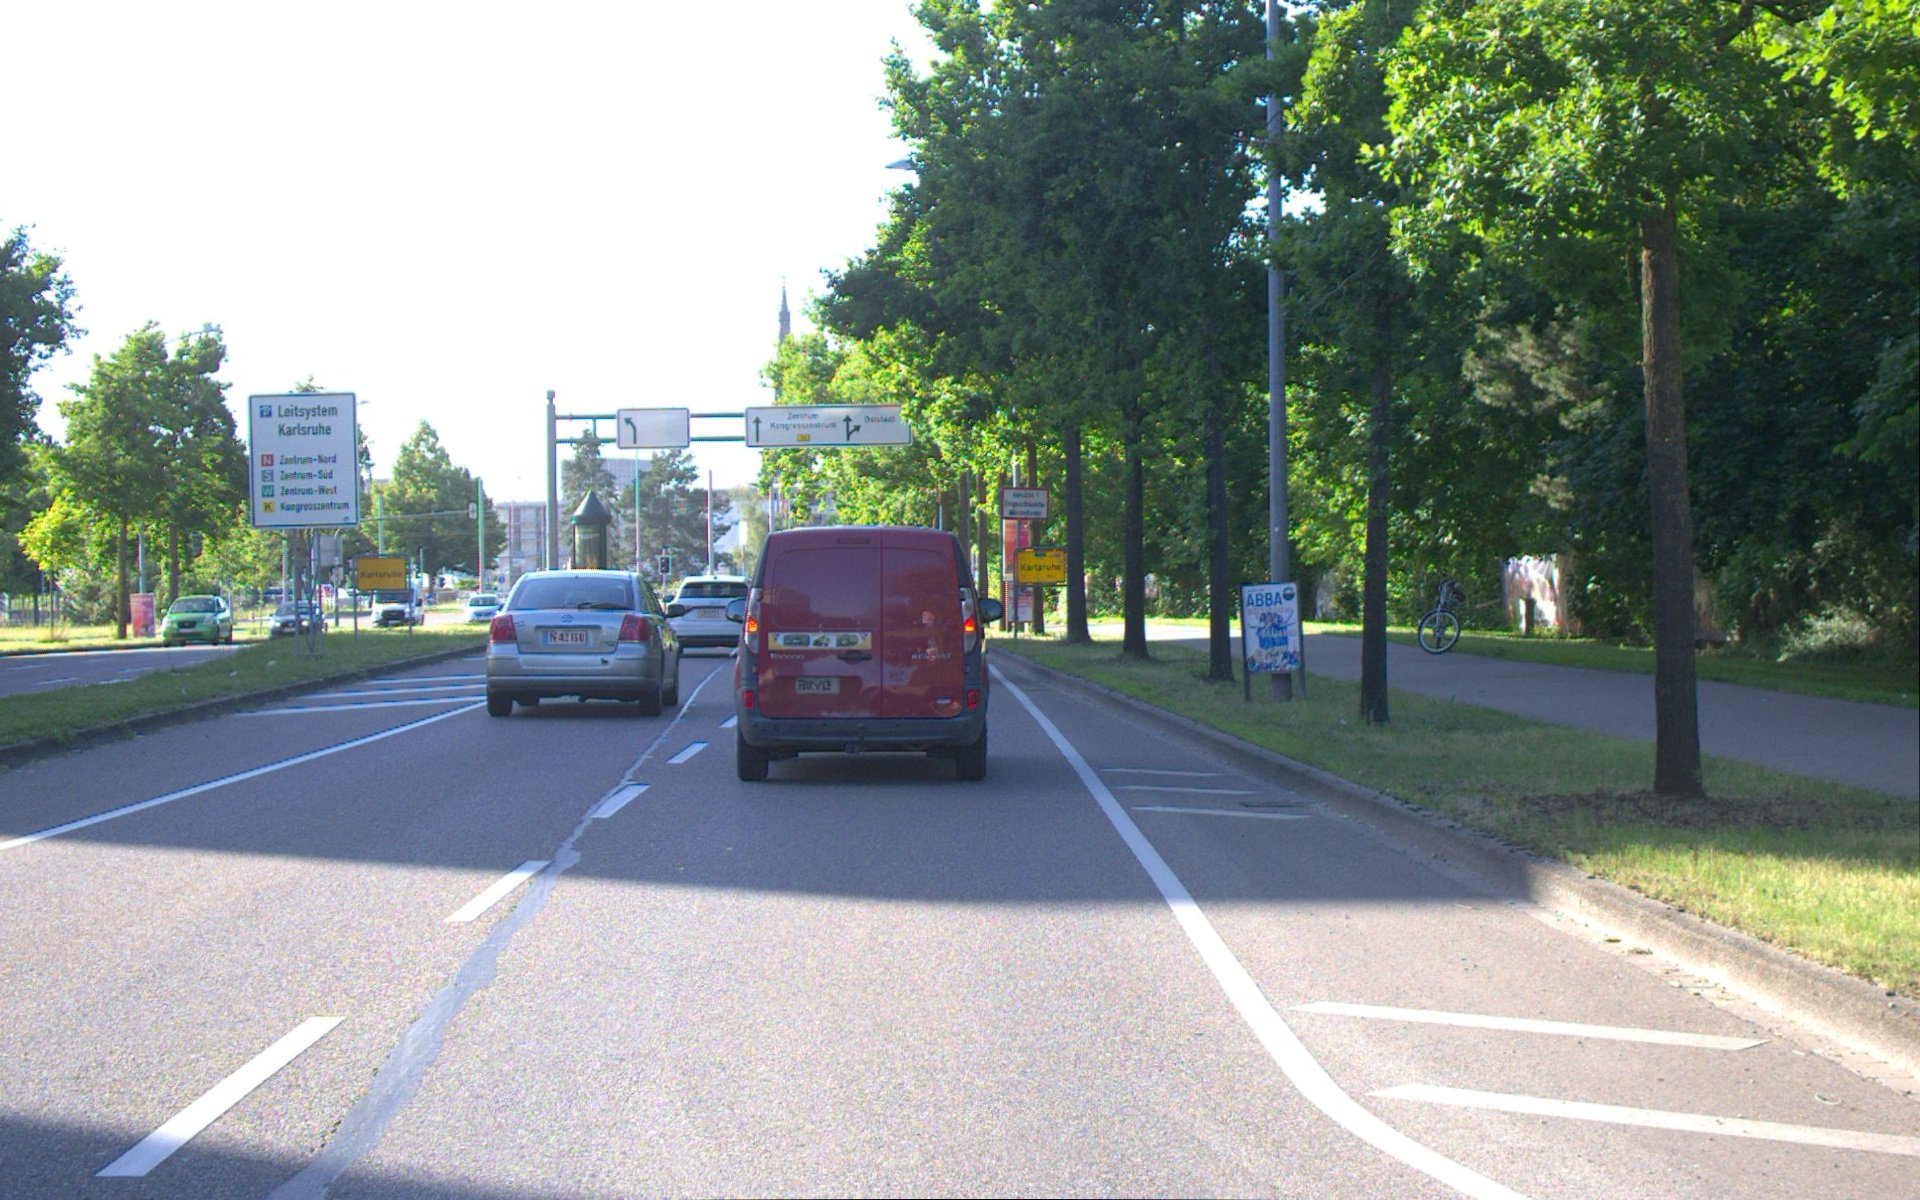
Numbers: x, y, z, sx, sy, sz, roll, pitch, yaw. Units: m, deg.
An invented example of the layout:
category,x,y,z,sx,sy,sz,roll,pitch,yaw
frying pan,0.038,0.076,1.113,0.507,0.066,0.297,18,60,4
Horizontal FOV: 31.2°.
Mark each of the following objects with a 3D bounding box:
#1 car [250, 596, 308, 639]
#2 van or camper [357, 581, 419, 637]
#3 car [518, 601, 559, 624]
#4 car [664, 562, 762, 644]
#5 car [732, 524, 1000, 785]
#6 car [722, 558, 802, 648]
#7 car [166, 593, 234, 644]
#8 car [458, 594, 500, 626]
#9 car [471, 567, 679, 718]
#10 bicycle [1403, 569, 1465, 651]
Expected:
category,x,y,z,sx,sy,sz,roll,pitch,yaw
car,-24.881,0.620,125.692,1.550,1.503,4.027,-1,1,-4
van or camper,-25.828,0.383,155.402,1.993,2.360,5.994,-2,1,-3
car,-20.834,0.609,169.882,1.827,1.107,4.175,-1,0,-5
car,-4.351,0.041,60.926,1.661,1.393,3.559,-1,0,-3
car,-0.737,0.356,25.266,1.806,1.753,4.006,0,0,-3
car,-4.246,0.050,73.894,1.661,1.850,3.559,-1,0,-3
car,-22.299,0.530,101.006,1.445,1.431,3.460,-1,1,-4
car,-22.569,0.465,161.288,1.688,1.471,4.050,-1,0,-5
car,-3.904,0.396,35.420,1.841,1.451,4.163,0,0,-2
bicycle,6.676,0.129,48.476,0.774,1.127,1.708,-1,1,5
